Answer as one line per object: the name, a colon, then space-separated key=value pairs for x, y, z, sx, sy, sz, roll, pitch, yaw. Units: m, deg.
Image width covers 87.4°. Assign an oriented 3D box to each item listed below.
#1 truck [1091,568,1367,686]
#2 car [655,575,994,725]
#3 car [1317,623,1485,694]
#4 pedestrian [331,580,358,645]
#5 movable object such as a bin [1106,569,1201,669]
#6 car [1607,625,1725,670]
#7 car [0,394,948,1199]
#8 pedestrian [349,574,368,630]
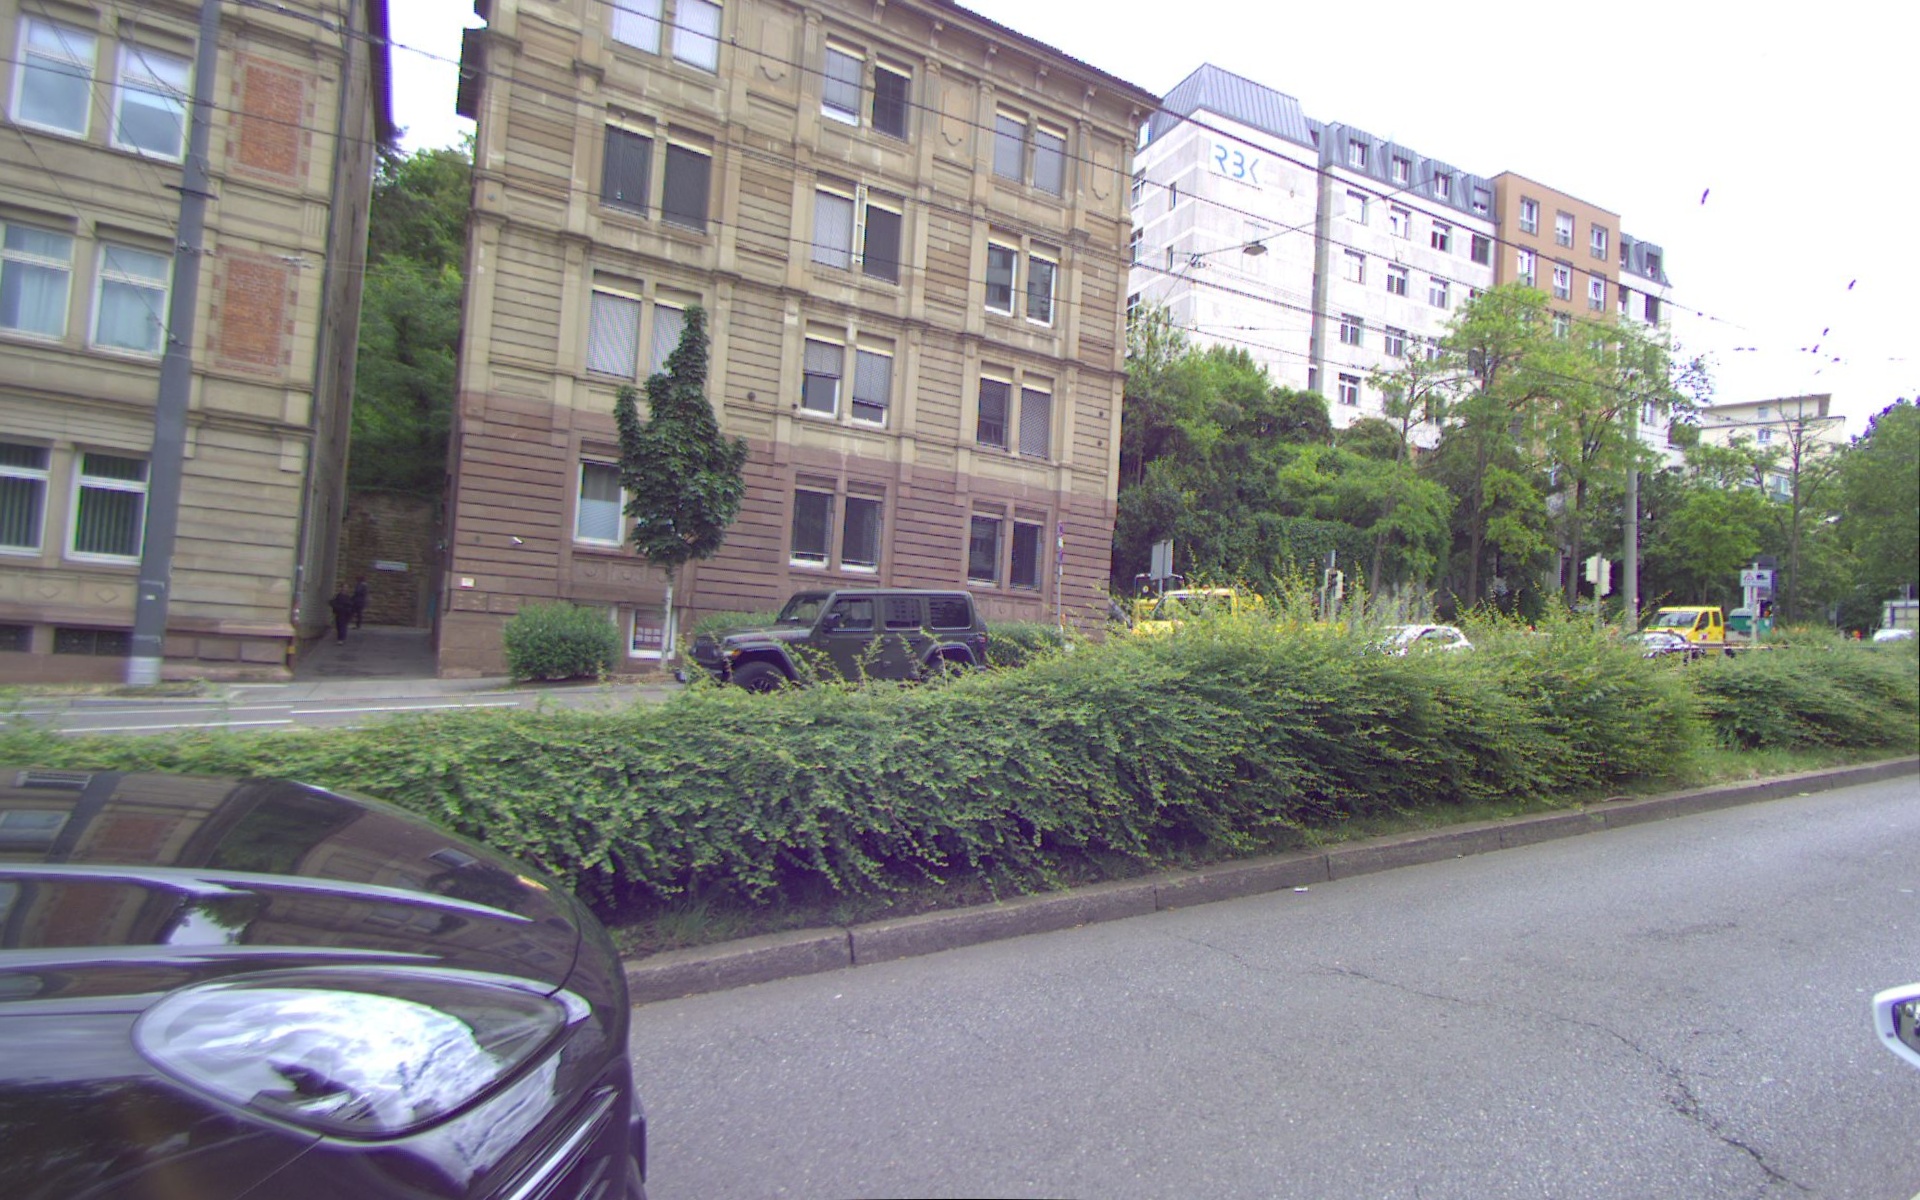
truck: x=7.025 y=0.756 z=25.821 sx=7.083 sy=2.542 sz=2.899 roll=4 pitch=-2 yaw=-35
car: x=-1.907 y=0.713 z=14.764 sx=4.593 sy=1.901 sz=1.888 roll=2 pitch=-2 yaw=-33
car: x=10.405 y=1.318 z=23.638 sx=4.023 sy=1.507 sz=1.730 roll=1 pitch=-1 yaw=-33
pedestrian: x=-16.057 y=0.333 z=26.195 sx=0.554 sy=1.675 sz=0.618 roll=1 pitch=-2 yaw=-31
movable object such as a bin: x=5.820 y=0.584 z=30.267 sx=2.010 sy=2.875 sz=1.980 roll=2 pitch=-2 yaw=-36
car: x=23.001 y=1.554 z=32.711 sx=4.021 sy=1.340 sz=1.731 roll=3 pitch=-2 yaw=-32
car: x=-2.571 y=0.619 z=0.901 sx=4.727 sy=1.707 sz=2.017 roll=3 pitch=-2 yaw=-31
pedestrian: x=-19.070 y=0.074 z=31.849 sx=0.486 sy=1.762 sz=0.514 roll=1 pitch=-2 yaw=-31
